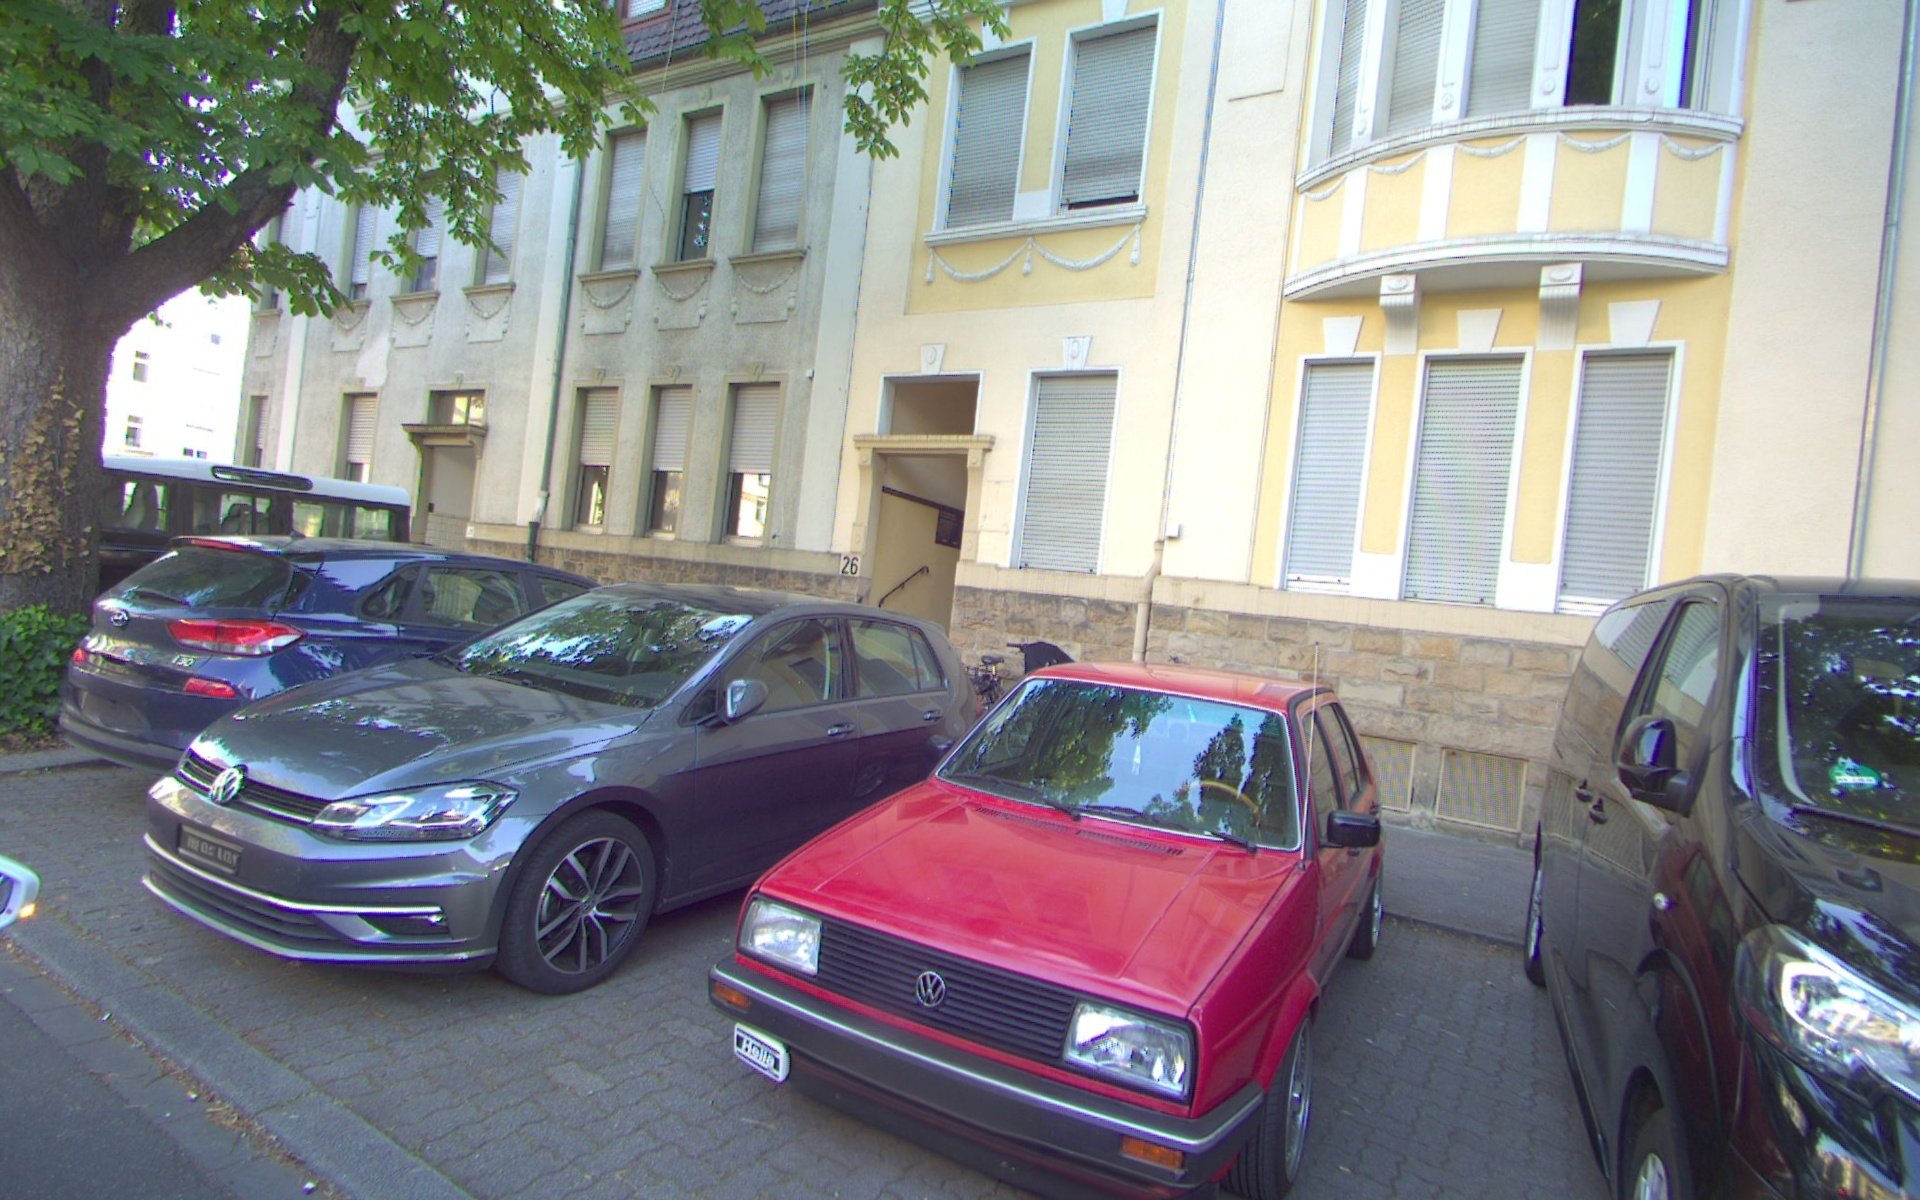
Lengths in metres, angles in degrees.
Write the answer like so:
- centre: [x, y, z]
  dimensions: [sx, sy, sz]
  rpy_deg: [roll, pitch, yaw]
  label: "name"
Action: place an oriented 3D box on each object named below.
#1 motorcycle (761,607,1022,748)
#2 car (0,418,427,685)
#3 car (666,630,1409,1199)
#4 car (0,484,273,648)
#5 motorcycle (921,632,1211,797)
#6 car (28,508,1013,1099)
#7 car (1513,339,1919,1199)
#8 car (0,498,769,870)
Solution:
- centre: [-0.792, 0.771, 10.789]
  dimensions: [2.822, 1.087, 0.694]
  rpy_deg: [7, 2, 31]
  label: "motorcycle"
- centre: [-7.595, -0.374, 9.241]
  dimensions: [1.671, 2.061, 4.473]
  rpy_deg: [6, 0, 28]
  label: "car"
- centre: [0.873, 0.940, 4.309]
  dimensions: [1.601, 1.332, 4.144]
  rpy_deg: [6, 0, 27]
  label: "car"
- centre: [-9.989, -0.391, 10.942]
  dimensions: [1.679, 1.589, 3.730]
  rpy_deg: [6, 0, 28]
  label: "car"
- centre: [0.953, 0.992, 9.400]
  dimensions: [2.439, 1.087, 0.959]
  rpy_deg: [7, 2, 32]
  label: "motorcycle"
- centre: [-1.434, 0.616, 4.821]
  dimensions: [1.693, 1.470, 4.060]
  rpy_deg: [6, 0, 28]
  label: "car"
- centre: [2.850, 0.864, 2.882]
  dimensions: [1.864, 1.898, 4.759]
  rpy_deg: [6, 0, 27]
  label: "car"
- centre: [-3.088, 0.419, 6.204]
  dimensions: [1.679, 1.470, 3.730]
  rpy_deg: [6, 0, 28]
  label: "car"
